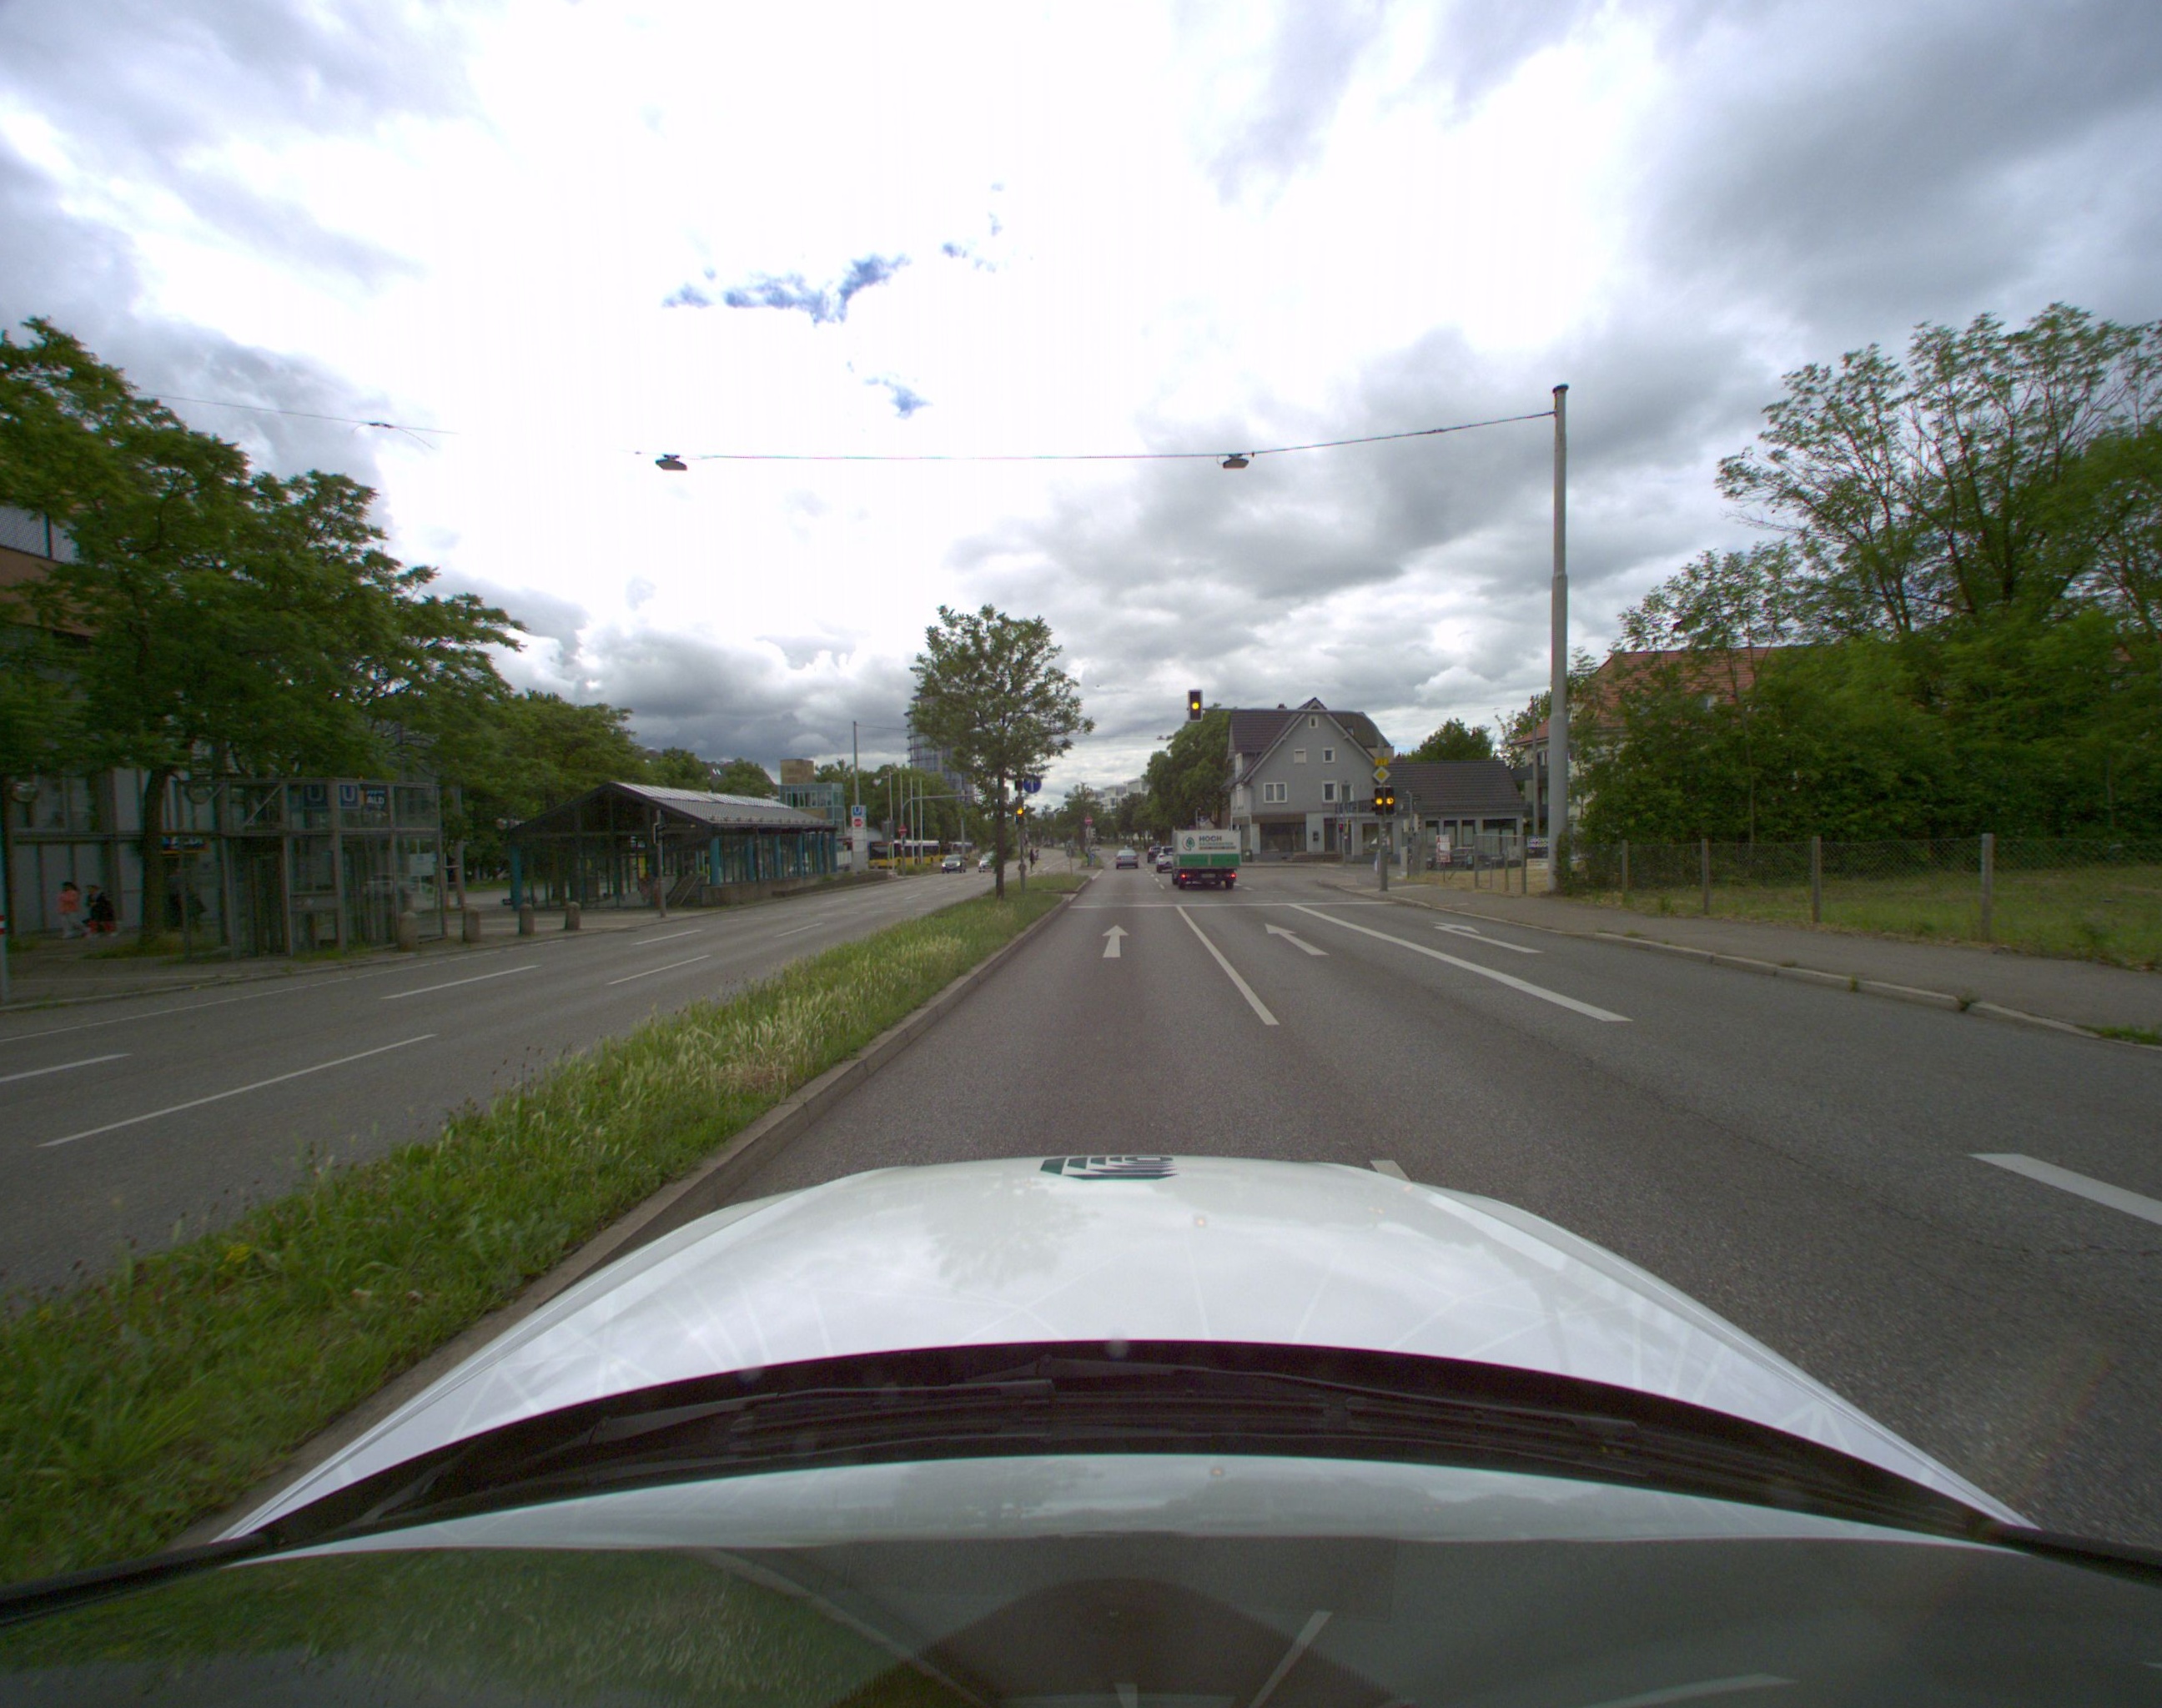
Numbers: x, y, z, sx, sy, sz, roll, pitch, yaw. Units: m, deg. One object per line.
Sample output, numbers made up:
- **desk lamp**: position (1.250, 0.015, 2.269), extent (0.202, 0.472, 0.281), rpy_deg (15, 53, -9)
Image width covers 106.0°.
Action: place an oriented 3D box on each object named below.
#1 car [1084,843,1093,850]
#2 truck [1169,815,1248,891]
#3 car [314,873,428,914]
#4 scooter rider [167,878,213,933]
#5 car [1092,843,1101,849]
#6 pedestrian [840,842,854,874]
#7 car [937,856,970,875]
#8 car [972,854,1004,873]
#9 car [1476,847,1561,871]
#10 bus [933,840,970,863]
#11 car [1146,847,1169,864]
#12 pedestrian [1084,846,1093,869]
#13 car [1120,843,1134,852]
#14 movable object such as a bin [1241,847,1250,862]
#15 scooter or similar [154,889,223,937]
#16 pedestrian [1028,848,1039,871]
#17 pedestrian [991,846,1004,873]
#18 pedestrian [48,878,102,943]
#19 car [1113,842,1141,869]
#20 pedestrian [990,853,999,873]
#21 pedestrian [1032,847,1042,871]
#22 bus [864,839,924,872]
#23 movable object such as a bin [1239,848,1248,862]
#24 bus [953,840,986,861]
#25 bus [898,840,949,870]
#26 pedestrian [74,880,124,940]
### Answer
- **car**: position (1.715, -1.779, 194.260), extent (1.987, 1.519, 4.000), rpy_deg (-2, 0, 0)
- **truck**: position (4.759, -0.119, 31.382), extent (2.459, 2.611, 6.556), rpy_deg (-1, 1, 4)
- **car**: position (-36.666, 2.005, 42.151), extent (3.976, 1.837, 1.999), rpy_deg (-2, 0, -2)
- **scooter rider**: position (-25.579, 1.462, 23.396), extent (0.522, 1.545, 0.708), rpy_deg (0, 0, 6)
- **car**: position (3.797, -1.970, 201.701), extent (1.987, 1.519, 4.000), rpy_deg (-2, 0, 0)
- **pedestrian**: position (-15.194, 0.248, 52.884), extent (0.679, 2.013, 0.645), rpy_deg (-2, 0, -1)
- **car**: position (-10.856, 0.942, 69.502), extent (1.986, 1.486, 4.002), rpy_deg (-2, 0, 2)
- **car**: position (-7.856, 0.798, 69.121), extent (1.986, 1.486, 4.002), rpy_deg (-2, 0, 2)
- **car**: position (25.769, 0.277, 48.034), extent (4.073, 1.371, 1.801), rpy_deg (0, 0, 2)
- **bus**: position (-21.064, -0.395, 133.208), extent (2.816, 3.430, 10.756), rpy_deg (-2, 0, 8)
- **car**: position (7.094, 0.126, 76.073), extent (1.985, 1.552, 4.004), rpy_deg (-1, 0, 3)
- **pedestrian**: position (0.606, 0.279, 63.025), extent (0.582, 1.716, 0.545), rpy_deg (-2, 0, -4)
- **car**: position (8.887, -1.209, 157.009), extent (1.991, 1.552, 3.992), rpy_deg (-2, 0, -5)
- **movable object such as a bin**: position (12.241, 0.022, 60.614), extent (0.601, 1.059, 0.590), rpy_deg (-1, 0, 5)
- **scooter or similar**: position (-25.557, 1.662, 23.332), extent (0.477, 1.267, 1.290), rpy_deg (0, 0, 6)
- **pedestrian**: position (-3.525, 0.404, 60.851), extent (0.744, 1.716, 0.582), rpy_deg (-2, 0, -4)
- **pedestrian**: position (-6.164, 0.409, 60.087), extent (0.828, 2.013, 0.545), rpy_deg (-2, 0, -4)
- **pedestrian**: position (-27.817, 1.548, 22.519), extent (0.563, 1.727, 0.679), rpy_deg (-2, 0, -5)
- **car**: position (3.388, 0.079, 60.077), extent (1.985, 1.830, 4.004), rpy_deg (-1, 1, 3)
- **pedestrian**: position (-6.480, 0.690, 60.969), extent (0.542, 1.496, 0.486), rpy_deg (-2, 0, -3)
- **pedestrian**: position (-3.245, 0.382, 60.075), extent (0.652, 1.716, 0.451), rpy_deg (-2, 0, -4)
- **bus**: position (-20.734, 0.119, 91.319), extent (2.816, 3.430, 10.756), rpy_deg (-2, 0, 8)
- **movable object such as a bin**: position (12.264, 0.059, 61.436), extent (0.613, 1.043, 0.590), rpy_deg (-1, 0, 5)
- **bus**: position (-19.643, -0.566, 143.896), extent (2.816, 3.430, 10.756), rpy_deg (-2, 0, 8)
- **bus**: position (-19.384, 0.058, 101.349), extent (2.816, 3.430, 10.756), rpy_deg (-2, 0, 8)
- **pedestrian**: position (-27.203, 1.551, 22.567), extent (0.516, 1.589, 0.679), rpy_deg (-2, 0, -5)
